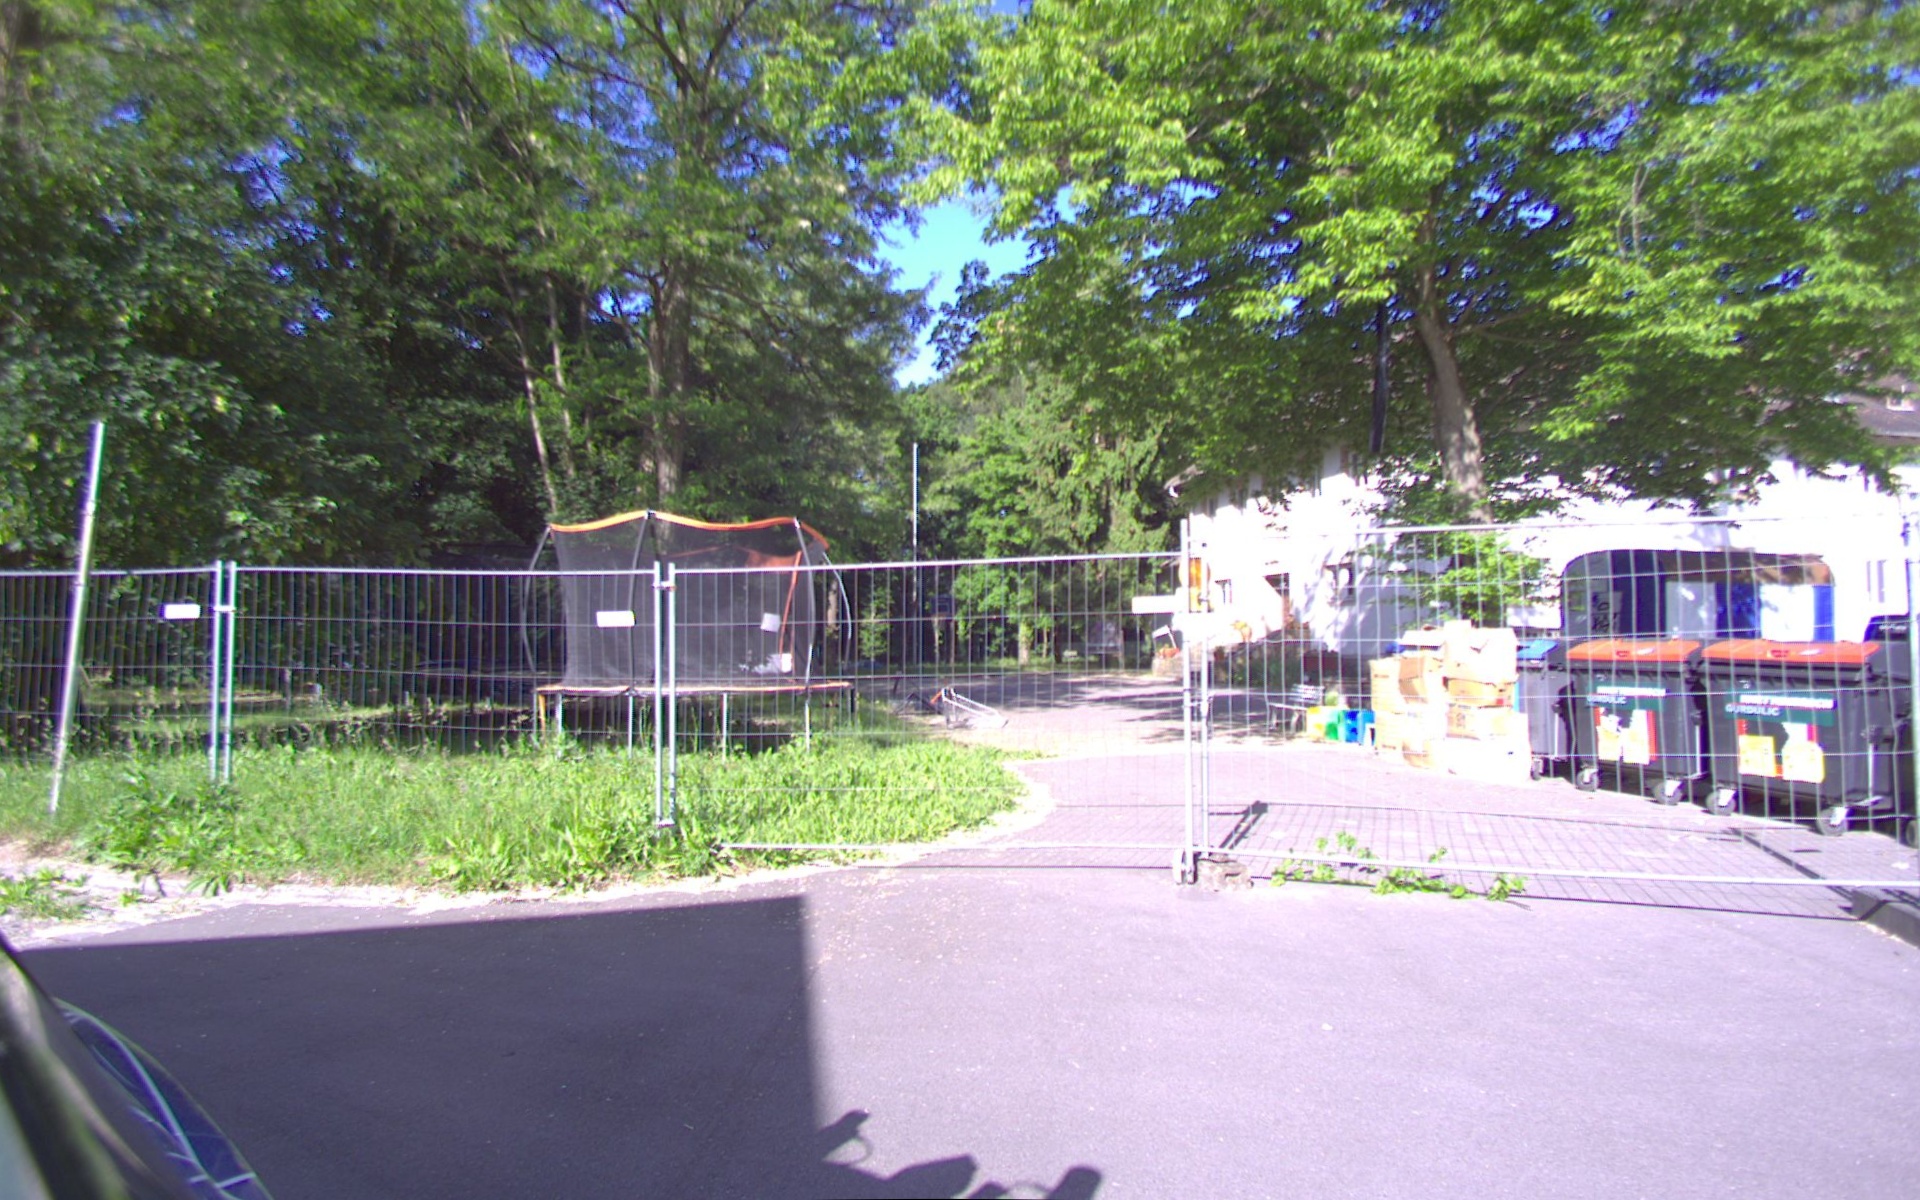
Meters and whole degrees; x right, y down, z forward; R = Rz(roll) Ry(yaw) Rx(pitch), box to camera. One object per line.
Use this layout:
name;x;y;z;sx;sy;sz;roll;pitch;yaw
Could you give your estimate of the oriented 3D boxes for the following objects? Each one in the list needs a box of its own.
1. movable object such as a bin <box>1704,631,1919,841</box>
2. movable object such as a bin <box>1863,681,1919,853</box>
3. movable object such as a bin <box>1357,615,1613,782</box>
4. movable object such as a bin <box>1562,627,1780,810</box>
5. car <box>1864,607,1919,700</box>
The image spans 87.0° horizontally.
movable object such as a bin;6.605;0.970;7.748;0.690;1.455;1.252;1;-3;-17
movable object such as a bin;6.688;1.100;6.645;0.806;1.106;0.740;0;-3;-8
movable object such as a bin;5.611;1.000;11.050;1.154;1.603;2.302;0;-2;-17
movable object such as a bin;6.306;0.999;9.062;0.793;1.495;1.346;0;-3;-17
car;21.146;1.066;19.827;1.966;1.917;4.738;0;-2;-15
